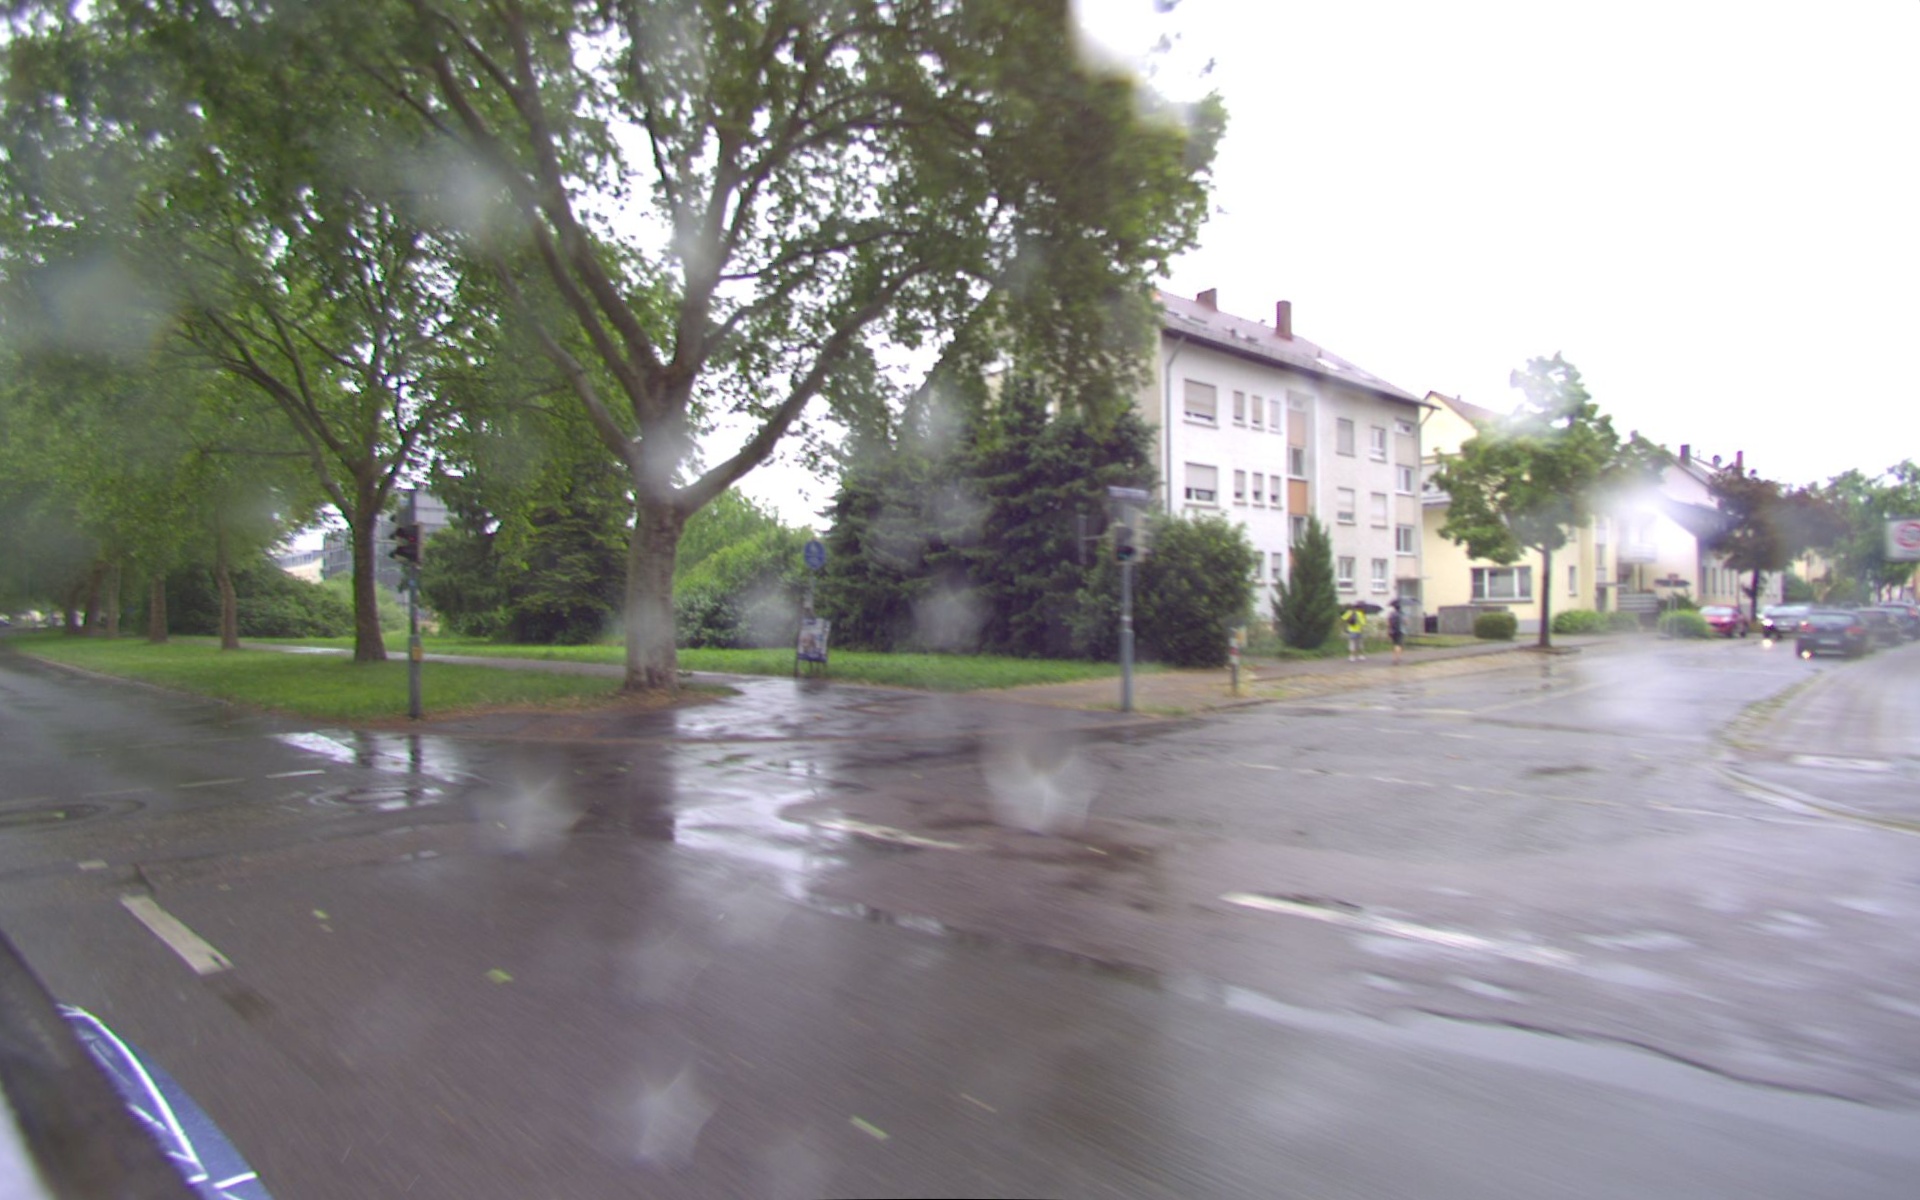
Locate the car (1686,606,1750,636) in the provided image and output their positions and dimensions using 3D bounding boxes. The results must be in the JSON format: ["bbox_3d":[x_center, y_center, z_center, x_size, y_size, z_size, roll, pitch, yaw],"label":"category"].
[{"bbox_3d":[36.753,1.008,49.032,3.674,1.383,1.696,0,-1,-41],"label":"car"}]

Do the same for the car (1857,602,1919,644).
[{"bbox_3d":[35.159,0.852,38.242,3.399,1.527,1.537,0,-2,-43],"label":"car"}]

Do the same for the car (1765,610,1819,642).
[{"bbox_3d":[39.468,1.215,47.970,3.676,1.383,1.529,0,-1,-44],"label":"car"}]

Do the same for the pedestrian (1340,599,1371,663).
[{"bbox_3d":[11.143,0.861,28.499,0.639,1.758,0.586,-2,-1,41],"label":"pedestrian"}]

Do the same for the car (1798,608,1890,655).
[{"bbox_3d":[28.157,0.976,32.205,3.661,1.383,1.696,0,-1,-41],"label":"car"}]

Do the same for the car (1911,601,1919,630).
[{"bbox_3d":[53.062,0.851,55.171,3.482,1.565,1.628,0,-1,-44],"label":"car"}]

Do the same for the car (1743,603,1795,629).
[{"bbox_3d":[46.707,0.906,58.397,3.674,1.383,1.696,0,-1,-41],"label":"car"}]

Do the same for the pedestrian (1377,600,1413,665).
[{"bbox_3d":[11.896,0.873,27.674,0.639,1.758,0.850,-2,-1,41],"label":"pedestrian"}]

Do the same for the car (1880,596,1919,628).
[{"bbox_3d":[42.275,0.517,44.956,3.674,1.383,1.603,0,-1,-41],"label":"car"}]
